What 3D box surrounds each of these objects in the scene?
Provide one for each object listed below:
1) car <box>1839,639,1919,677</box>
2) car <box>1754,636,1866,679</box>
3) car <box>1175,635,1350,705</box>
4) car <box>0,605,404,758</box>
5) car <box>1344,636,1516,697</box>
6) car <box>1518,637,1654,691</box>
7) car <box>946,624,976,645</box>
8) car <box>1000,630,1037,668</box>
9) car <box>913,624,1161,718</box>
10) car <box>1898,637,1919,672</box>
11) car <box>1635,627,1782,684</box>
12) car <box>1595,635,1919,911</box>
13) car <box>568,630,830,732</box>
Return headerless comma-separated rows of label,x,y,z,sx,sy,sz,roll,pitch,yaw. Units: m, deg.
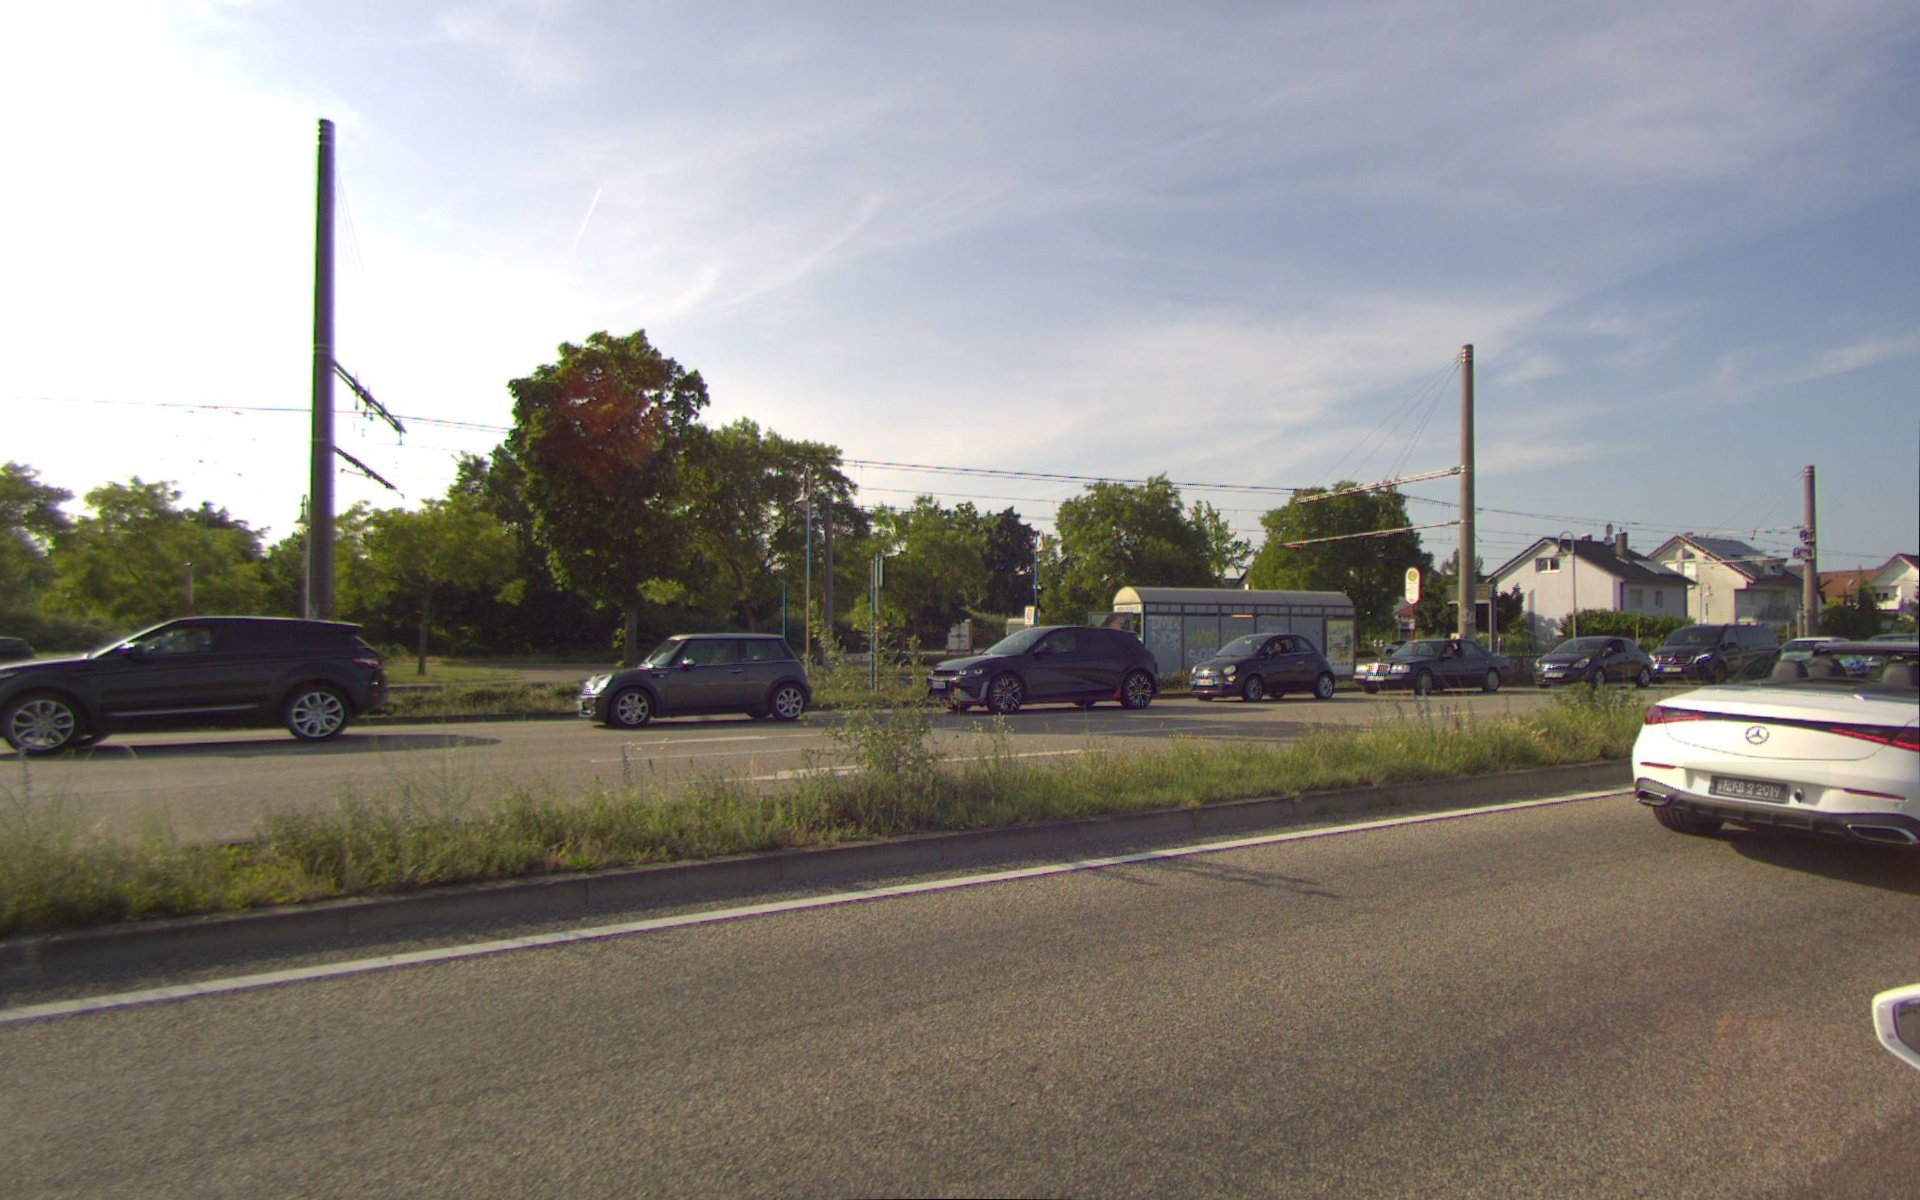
car,36.883,2.283,39.911,4.275,1.450,1.653,1,-3,-30
car,30.371,2.048,35.875,4.396,1.450,1.653,1,-3,-30
car,6.804,1.532,22.536,3.760,1.450,1.653,1,-3,-30
car,-9.545,0.988,12.886,4.179,1.709,1.653,1,-3,-30
car,12.128,1.665,25.838,4.662,1.450,1.653,1,-3,-30
car,18.026,1.811,28.895,4.009,1.450,1.653,1,-3,-30
car,0.125,2.485,72.445,1.700,1.384,3.626,-1,-4,7
car,3.394,2.840,59.041,1.960,2.040,4.000,1,0,0
car,1.491,1.285,18.807,4.492,1.583,1.653,1,-3,-30
car,42.689,2.355,43.661,4.275,1.450,1.653,1,-3,-30
car,24.069,1.777,32.254,5.192,1.705,1.906,1,-3,-30
car,6.710,0.964,7.023,4.891,1.355,1.763,1,0,-30
car,-4.126,1.230,15.999,3.760,1.450,1.653,1,-3,-30
